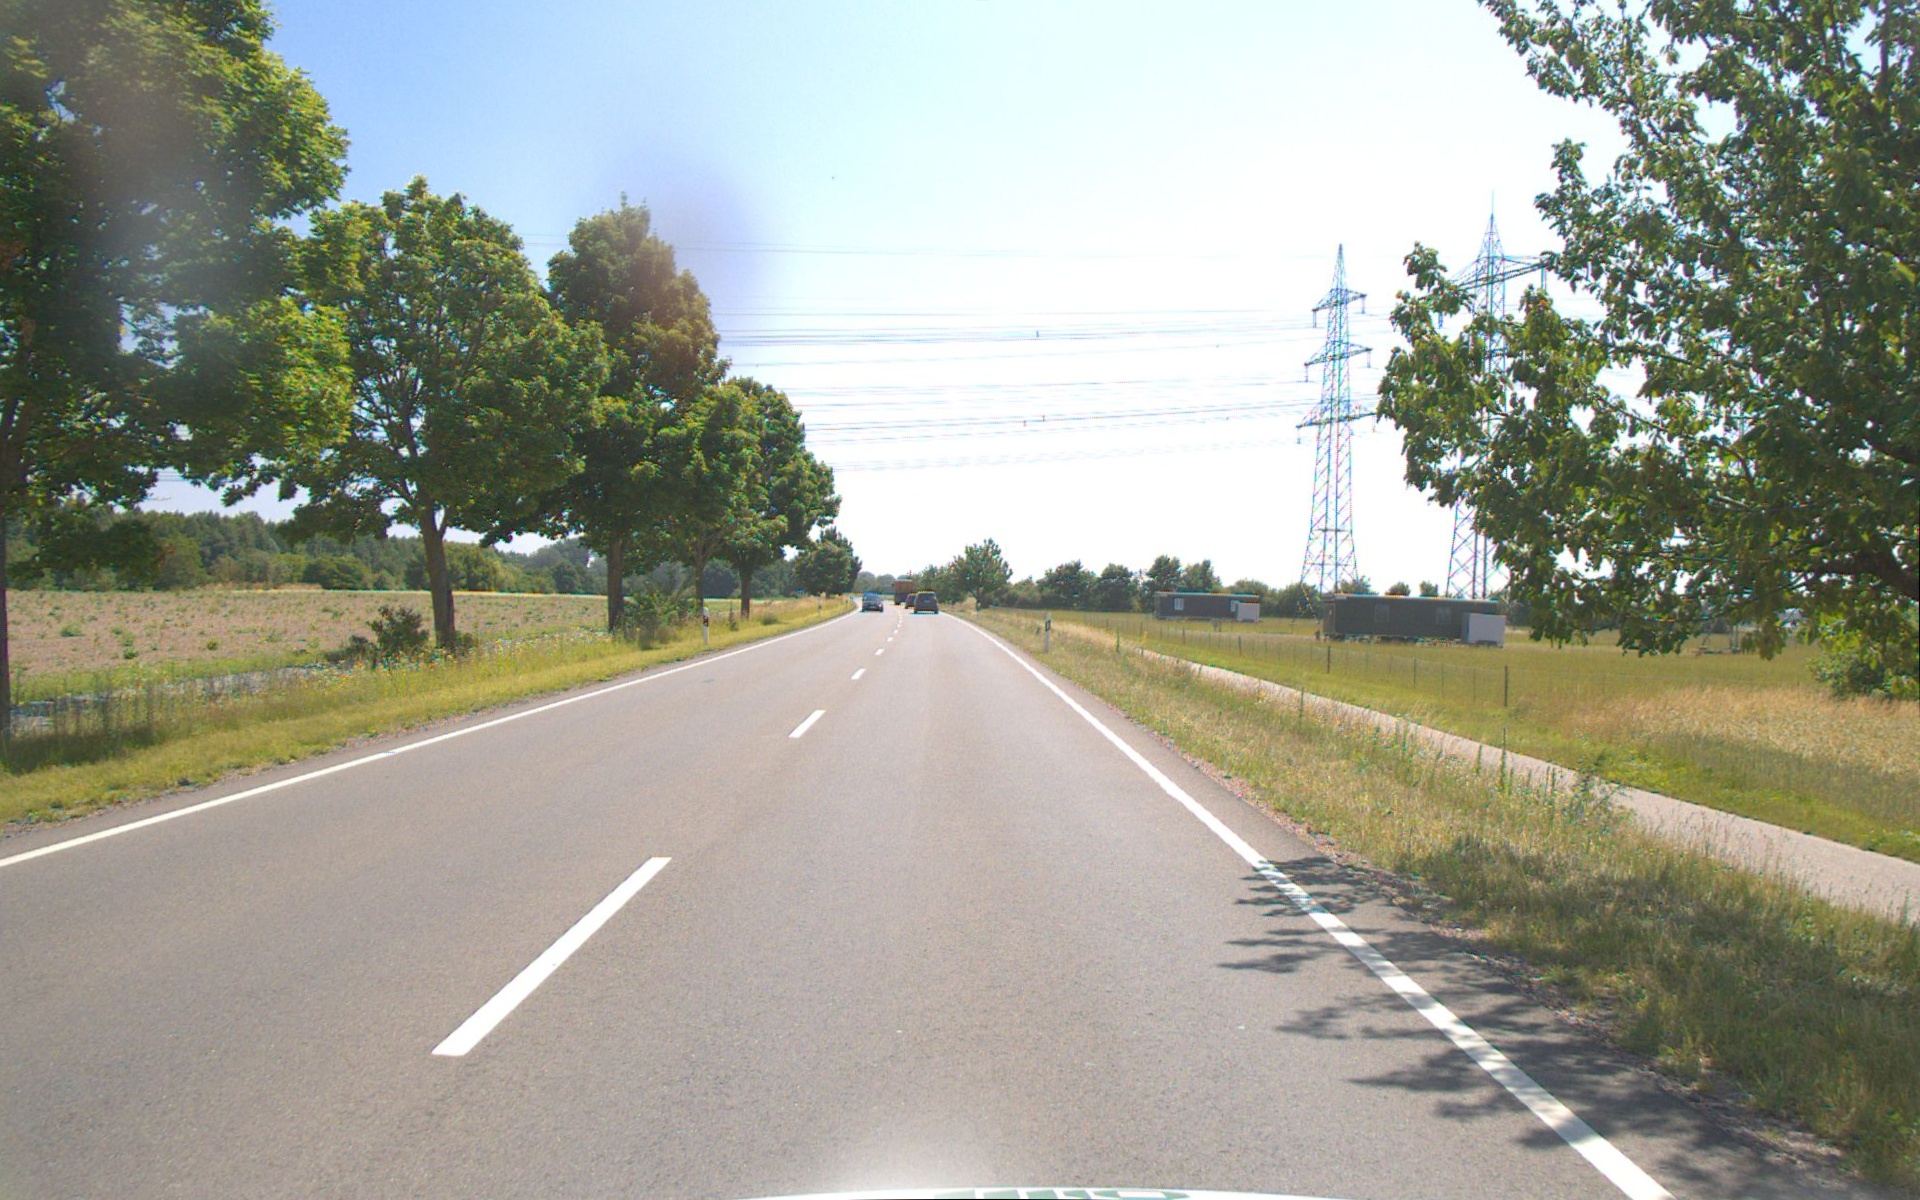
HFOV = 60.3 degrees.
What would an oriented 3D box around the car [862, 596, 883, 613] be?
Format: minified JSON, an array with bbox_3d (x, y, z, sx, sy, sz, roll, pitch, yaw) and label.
[{"bbox_3d":[-7.197,0.369,135.157,1.671,1.356,3.997,1,0,-4],"label":"car"}]

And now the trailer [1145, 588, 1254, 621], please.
[{"bbox_3d":[28.295,0.516,195.465,12.171,3.533,3.801,2,0,-6],"label":"trailer"}]

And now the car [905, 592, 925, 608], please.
[{"bbox_3d":[-4.546,0.009,165.576,1.814,1.549,3.997,1,0,-4],"label":"car"}]

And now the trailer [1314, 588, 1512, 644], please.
[{"bbox_3d":[32.348,1.119,118.346,13.241,3.535,3.274,2,0,-3],"label":"trailer"}]

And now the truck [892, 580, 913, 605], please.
[{"bbox_3d":[-7.385,-0.927,212.812,2.324,3.195,8.739,1,0,-4],"label":"truck"}]

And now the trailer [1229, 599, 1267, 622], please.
[{"bbox_3d":[33.608,1.195,192.957,3.910,2.485,1.998,2,0,-6],"label":"trailer"}]

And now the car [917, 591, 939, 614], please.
[{"bbox_3d":[-2.497,0.173,128.711,1.680,1.723,3.987,1,0,-2],"label":"car"}]

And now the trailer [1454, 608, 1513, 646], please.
[{"bbox_3d":[36.636,1.907,115.789,3.339,2.505,2.036,2,0,-3],"label":"trailer"}]
